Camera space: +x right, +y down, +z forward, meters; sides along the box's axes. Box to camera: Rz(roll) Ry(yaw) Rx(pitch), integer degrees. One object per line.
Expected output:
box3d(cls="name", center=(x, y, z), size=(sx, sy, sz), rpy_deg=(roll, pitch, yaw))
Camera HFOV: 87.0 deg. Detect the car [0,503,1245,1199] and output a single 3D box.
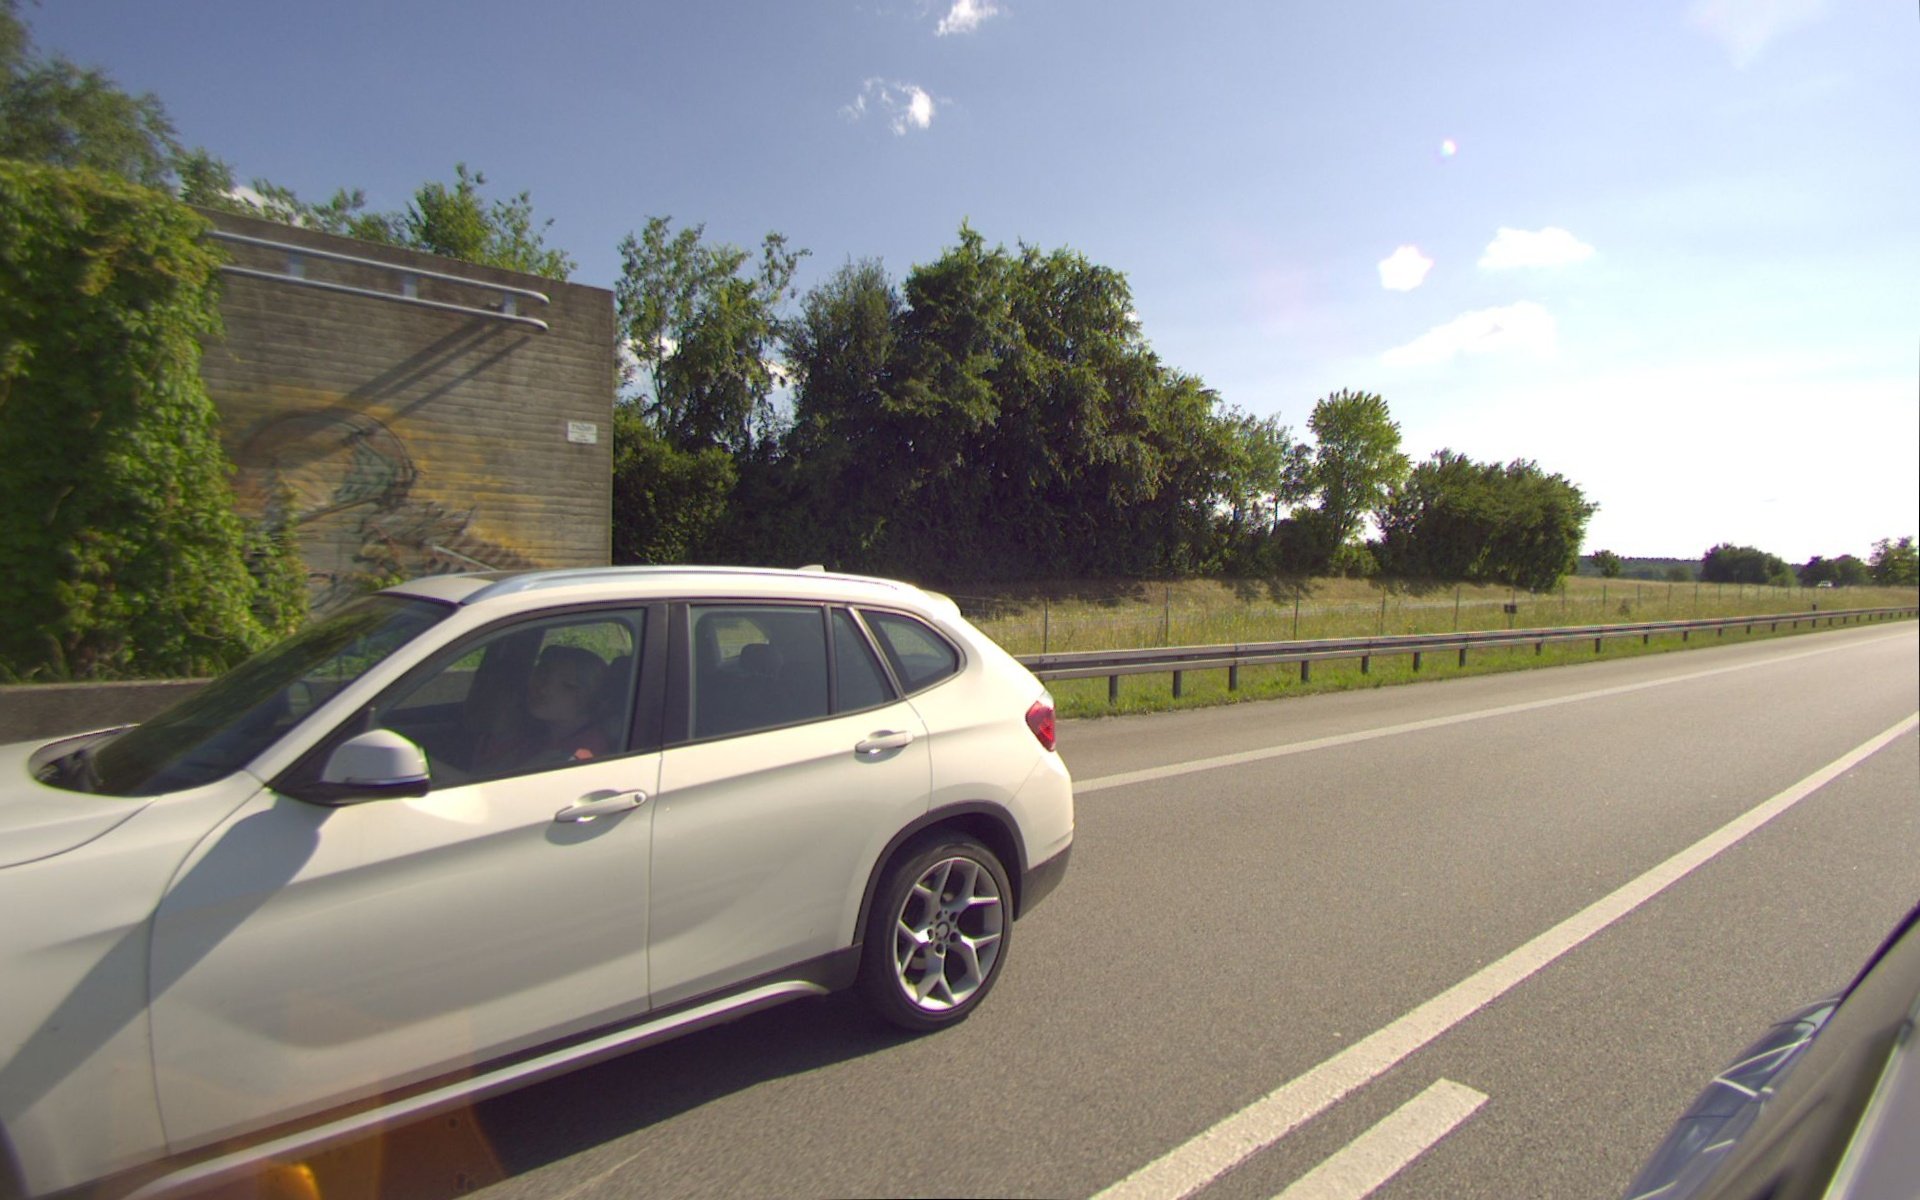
box3d(cls="car", center=(-1.158, 0.579, 3.485), size=(4.899, 1.515, 1.688), rpy_deg=(1, 0, -41))
